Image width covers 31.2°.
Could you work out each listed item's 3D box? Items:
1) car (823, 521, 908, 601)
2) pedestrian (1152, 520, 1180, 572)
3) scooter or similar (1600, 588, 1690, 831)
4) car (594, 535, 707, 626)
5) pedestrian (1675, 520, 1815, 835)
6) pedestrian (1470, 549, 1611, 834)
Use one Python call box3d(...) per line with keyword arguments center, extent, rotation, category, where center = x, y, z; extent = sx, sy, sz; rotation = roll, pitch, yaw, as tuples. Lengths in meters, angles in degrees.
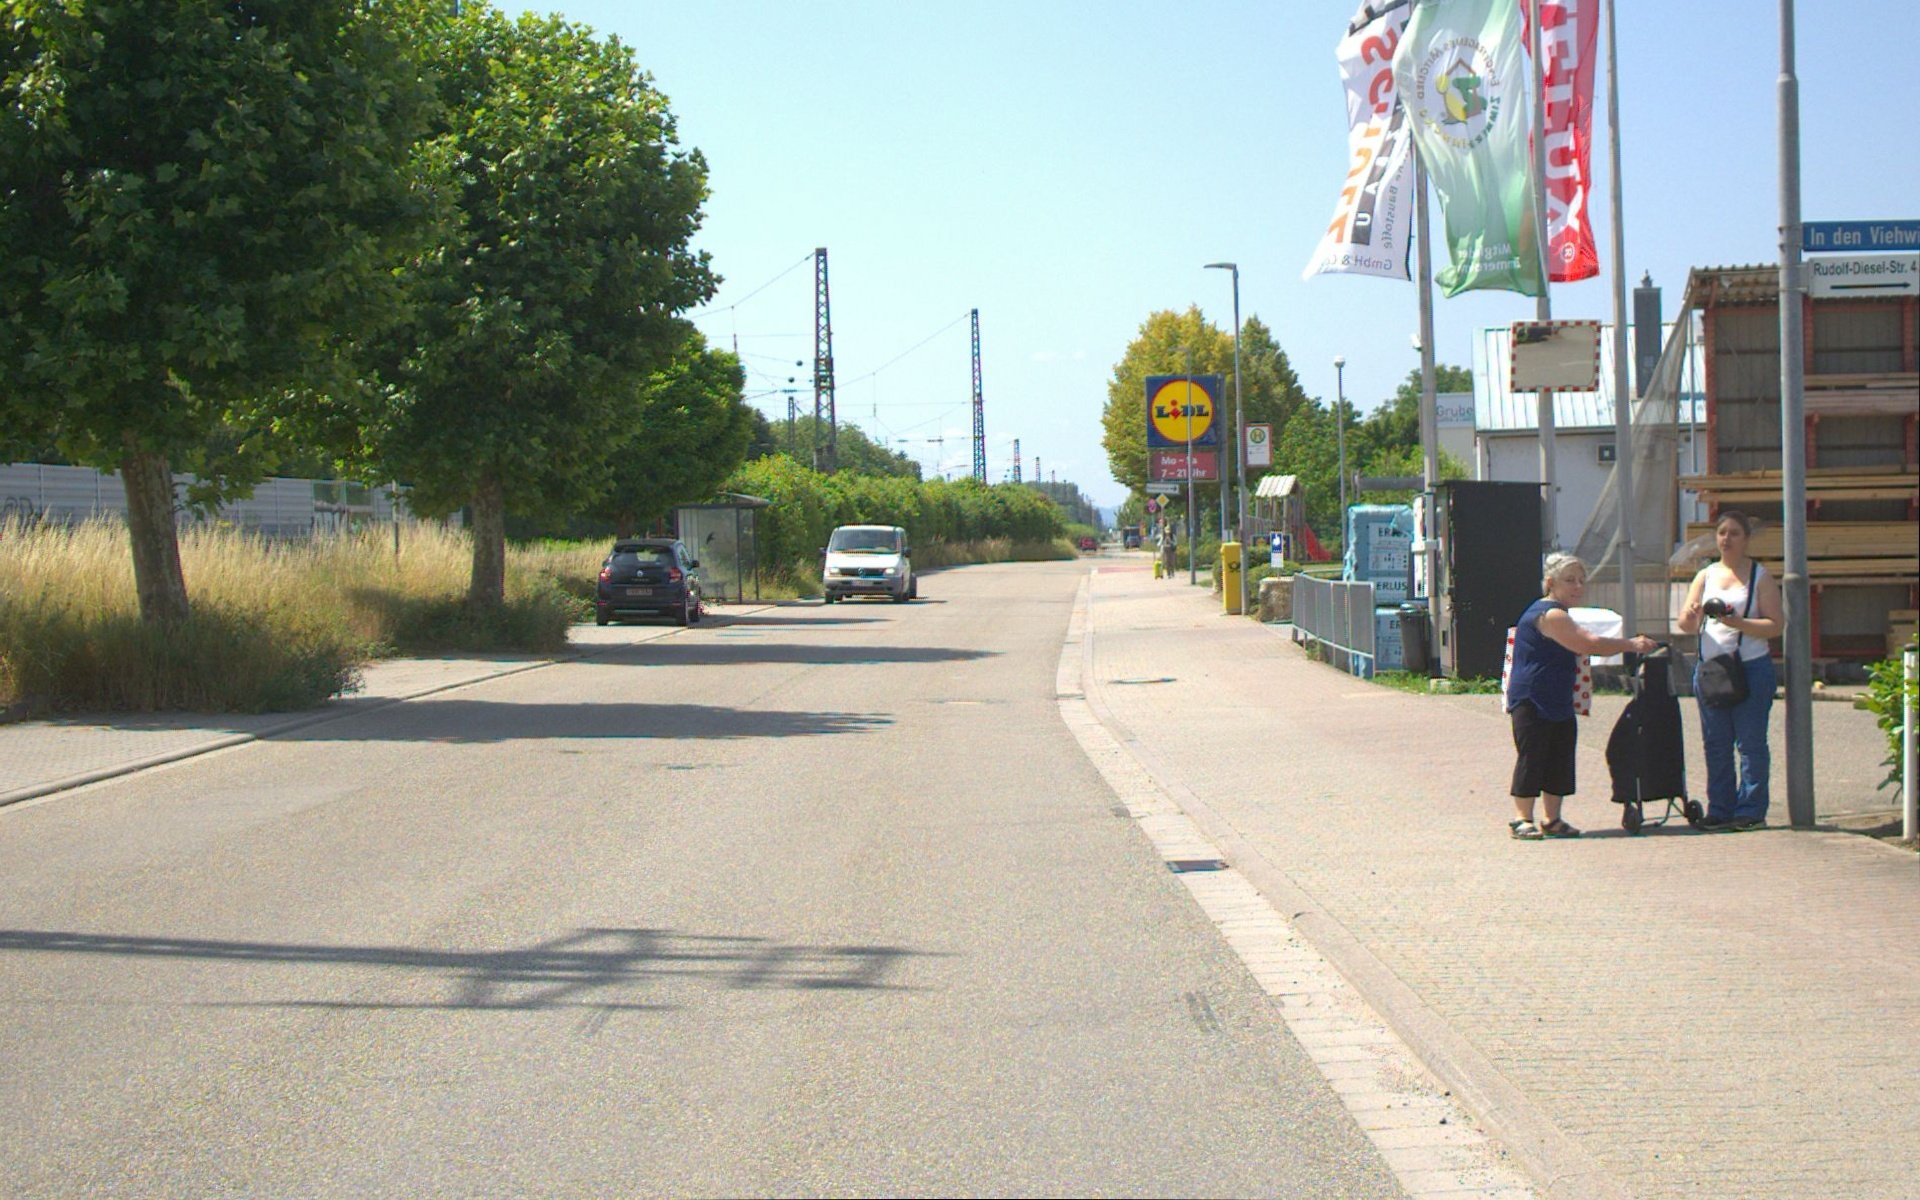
box3d(center=(-2.230, -0.946, 82.225), extent=(1.838, 1.852, 4.484), rotation=(0, 1, 1), category="car")
box3d(center=(6.441, -1.693, 107.647), extent=(0.761, 1.596, 1.210), rotation=(-1, 1, 0), category="pedestrian")
box3d(center=(3.436, 0.545, 17.254), extent=(0.334, 1.194, 0.398), rotation=(-2, -1, 1), category="scooter or similar")
box3d(center=(-5.649, -0.381, 63.050), extent=(1.741, 1.590, 3.579), rotation=(0, 1, 0), category="car")
box3d(center=(3.922, 0.386, 17.198), extent=(0.535, 1.534, 0.511), rotation=(-2, -1, 0), category="pedestrian")
box3d(center=(2.923, 0.458, 17.348), extent=(0.565, 1.400, 0.584), rotation=(-2, -1, 0), category="pedestrian")
